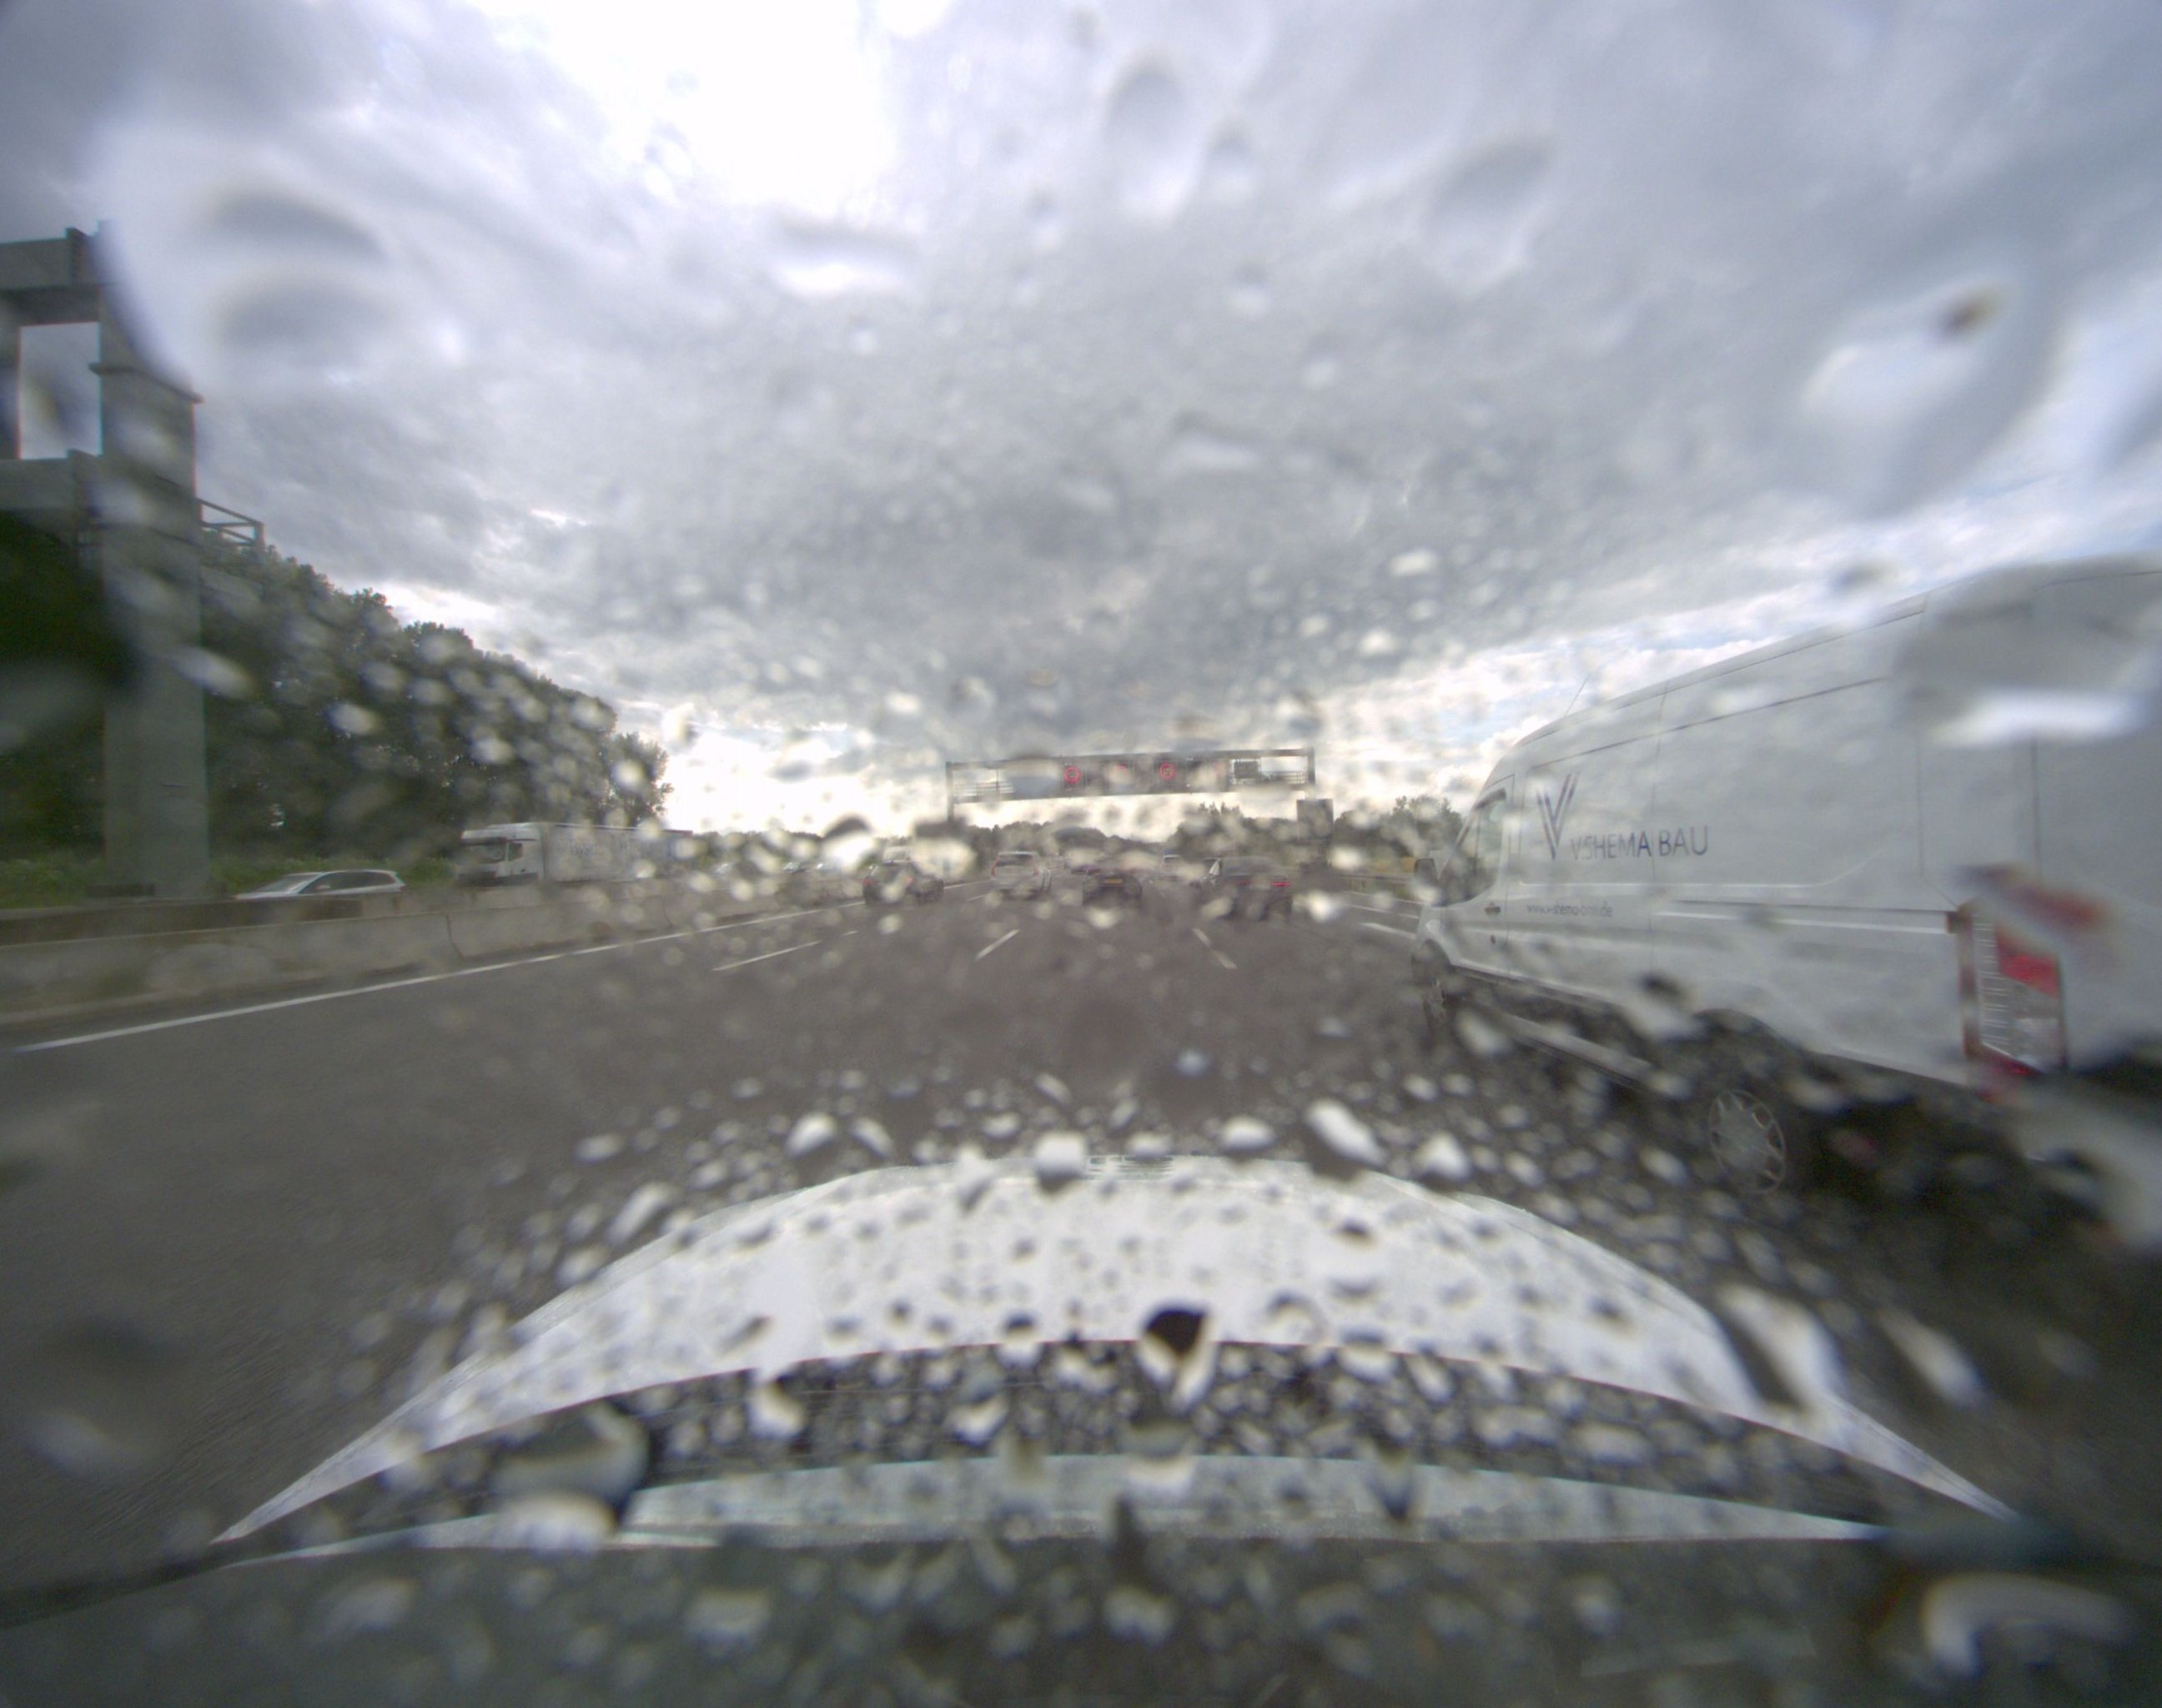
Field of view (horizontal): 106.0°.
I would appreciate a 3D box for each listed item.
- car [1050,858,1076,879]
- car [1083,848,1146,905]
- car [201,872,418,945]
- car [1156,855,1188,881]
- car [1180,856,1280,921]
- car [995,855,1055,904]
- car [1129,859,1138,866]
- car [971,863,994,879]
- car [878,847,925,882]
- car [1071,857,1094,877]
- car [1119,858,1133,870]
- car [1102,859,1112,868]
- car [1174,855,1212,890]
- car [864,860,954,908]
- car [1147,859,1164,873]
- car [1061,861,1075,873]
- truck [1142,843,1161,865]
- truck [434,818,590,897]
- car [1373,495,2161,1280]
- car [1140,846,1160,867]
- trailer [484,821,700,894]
[{"bbox_3d":[-1.488,1.234,69.628,1.873,1.686,4.003,-1,0,3],"label":"car"},{"bbox_3d":[0.978,0.660,25.594,1.775,1.613,4.597,-1,0,0],"label":"car"},{"bbox_3d":[-20.795,1.398,22.233,1.986,1.727,4.020,-1,0,2],"label":"car"},{"bbox_3d":[5.800,0.867,52.341,1.802,1.599,4.700,-1,0,4],"label":"car"},{"bbox_3d":[3.734,0.815,21.201,1.932,1.491,4.779,-1,0,3],"label":"car"},{"bbox_3d":[-2.057,0.907,31.039,1.773,1.716,4.356,-1,0,3],"label":"car"},{"bbox_3d":[12.460,1.942,193.279,1.874,1.686,4.001,-1,0,1],"label":"car"},{"bbox_3d":[-12.095,2.035,100.250,1.986,1.885,5.189,-1,0,2],"label":"car"},{"bbox_3d":[-14.091,0.815,64.327,1.986,2.616,6.346,-1,0,2],"label":"car"},{"bbox_3d":[0.127,1.173,74.298,1.873,1.686,4.003,-1,0,3],"label":"car"},{"bbox_3d":[6.373,1.458,116.027,1.873,1.686,4.003,-1,0,3],"label":"car"},{"bbox_3d":[4.910,1.710,152.856,1.873,1.686,4.003,-1,0,3],"label":"car"},{"bbox_3d":[5.485,0.870,40.238,1.698,1.631,4.465,-1,0,6],"label":"car"},{"bbox_3d":[-5.764,0.956,27.848,1.772,1.481,4.359,-1,0,6],"label":"car"},{"bbox_3d":[8.282,1.290,90.607,1.787,1.477,4.043,-1,0,5],"label":"car"},{"bbox_3d":[-1.596,1.631,102.675,1.557,1.477,3.922,-1,0,3],"label":"car"},{"bbox_3d":[12.074,0.027,140.524,3.119,3.709,9.859,-1,0,4],"label":"truck"},{"bbox_3d":[-27.427,0.184,39.661,3.123,3.508,6.104,-1,-1,2],"label":"truck"},{"bbox_3d":[3.826,0.114,5.309,2.131,2.501,5.452,-1,0,3],"label":"car"},{"bbox_3d":[9.716,0.389,115.433,2.556,2.895,7.539,-1,0,3],"label":"car"},{"bbox_3d":[-27.116,0.233,46.750,3.097,3.508,14.461,-1,0,2],"label":"trailer"}]
